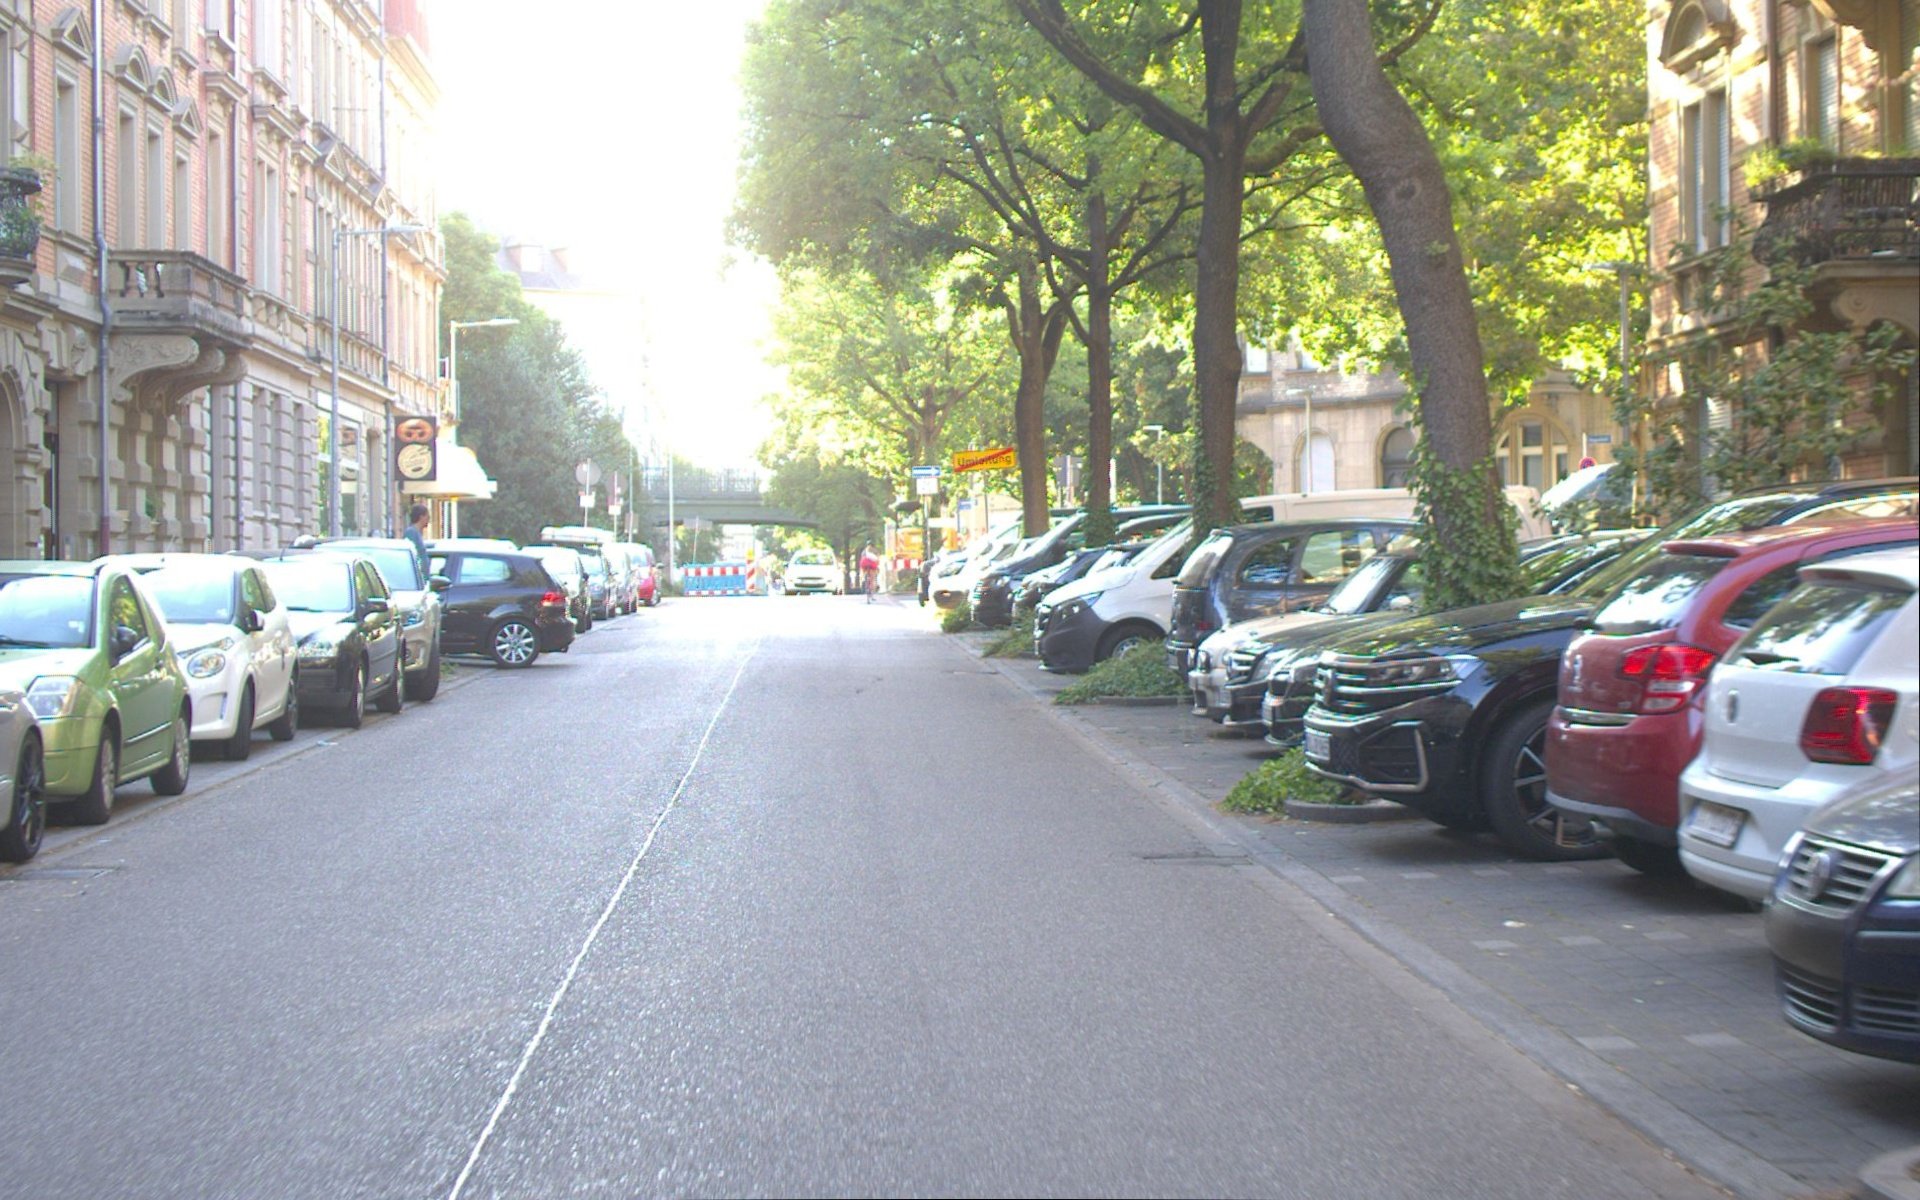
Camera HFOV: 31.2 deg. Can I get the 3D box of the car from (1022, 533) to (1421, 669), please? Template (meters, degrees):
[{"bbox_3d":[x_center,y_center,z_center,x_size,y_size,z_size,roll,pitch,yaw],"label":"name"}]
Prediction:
[{"bbox_3d":[2.947,-0.009,39.478,4.369,1.450,1.934,-1,1,-2],"label":"car"}]

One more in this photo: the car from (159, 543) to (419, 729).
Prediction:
[{"bbox_3d":[-5.861,0.265,30.428,1.647,1.468,4.001,2,1,-3],"label":"car"}]

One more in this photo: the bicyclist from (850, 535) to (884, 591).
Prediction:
[{"bbox_3d":[-2.312,-0.919,85.835,0.803,1.378,0.985,1,1,-3],"label":"bicyclist"}]

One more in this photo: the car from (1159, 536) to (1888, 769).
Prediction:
[{"bbox_3d":[3.904,0.325,24.142,4.658,1.498,1.933,-1,1,-11],"label":"car"}]

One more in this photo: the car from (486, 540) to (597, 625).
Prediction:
[{"bbox_3d":[-7.362,-0.332,60.767,1.703,1.449,4.021,0,1,-4],"label":"car"}]

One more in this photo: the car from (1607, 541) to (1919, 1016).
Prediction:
[{"bbox_3d":[4.419,0.517,11.746,3.986,1.457,1.783,-1,1,-5],"label":"car"}]

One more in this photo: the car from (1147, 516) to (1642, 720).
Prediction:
[{"bbox_3d":[3.667,0.126,29.374,3.883,1.643,1.725,-1,1,-7],"label":"car"}]

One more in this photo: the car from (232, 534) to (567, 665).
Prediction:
[{"bbox_3d":[-6.904,-0.026,42.578,3.986,1.524,1.826,-1,1,-8],"label":"car"}]

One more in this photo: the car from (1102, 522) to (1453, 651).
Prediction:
[{"bbox_3d":[3.856,-0.181,42.251,4.081,1.492,1.843,-1,1,-2],"label":"car"}]

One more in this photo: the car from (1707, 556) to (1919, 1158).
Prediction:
[{"bbox_3d":[4.187,0.503,9.025,3.986,1.383,1.678,-3,1,-3],"label":"car"}]

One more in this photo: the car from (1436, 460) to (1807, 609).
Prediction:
[{"bbox_3d":[11.470,-1.140,59.818,5.893,2.528,2.381,0,1,-8],"label":"car"}]

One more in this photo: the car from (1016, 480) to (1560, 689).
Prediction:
[{"bbox_3d":[3.162,-0.123,33.974,5.091,1.933,2.158,0,-3,-2],"label":"car"}]

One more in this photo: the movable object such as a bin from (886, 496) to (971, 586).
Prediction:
[{"bbox_3d":[-0.939,-1.781,104.361,1.994,2.690,3.109,0,0,11],"label":"movable object such as a bin"}]

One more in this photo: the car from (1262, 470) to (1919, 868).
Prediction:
[{"bbox_3d":[3.956,0.248,16.630,4.644,1.696,1.882,-2,1,-5],"label":"car"}]

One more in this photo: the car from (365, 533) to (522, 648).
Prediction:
[{"bbox_3d":[-7.295,-0.168,48.847,1.741,1.562,3.895,-1,1,-2],"label":"car"}]

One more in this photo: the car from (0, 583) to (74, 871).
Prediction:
[{"bbox_3d":[-5.319,0.622,15.521,1.705,1.318,4.102,-1,1,-2],"label":"car"}]

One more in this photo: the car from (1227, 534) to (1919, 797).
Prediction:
[{"bbox_3d":[4.042,0.369,21.527,4.552,1.524,2.000,-1,1,-1],"label":"car"}]

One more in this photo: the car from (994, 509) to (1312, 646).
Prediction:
[{"bbox_3d":[2.727,-0.341,49.189,4.267,1.878,1.940,-1,1,-6],"label":"car"}]

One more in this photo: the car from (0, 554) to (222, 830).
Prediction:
[{"bbox_3d":[-5.556,0.469,20.193,1.705,1.434,3.959,-1,1,-2],"label":"car"}]

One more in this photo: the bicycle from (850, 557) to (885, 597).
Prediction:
[{"bbox_3d":[-2.313,-0.577,85.818,0.803,0.965,2.109,1,1,-3],"label":"bicycle"}]

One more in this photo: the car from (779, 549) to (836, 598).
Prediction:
[{"bbox_3d":[-4.806,-0.859,108.562,1.749,1.504,4.001,0,1,-3],"label":"car"}]

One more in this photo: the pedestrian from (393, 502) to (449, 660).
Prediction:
[{"bbox_3d":[-6.502,-0.237,41.514,0.638,1.881,0.592,-1,1,-8],"label":"pedestrian"}]

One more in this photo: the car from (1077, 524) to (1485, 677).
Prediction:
[{"bbox_3d":[3.403,-0.013,36.791,3.986,1.469,1.782,-2,1,-9],"label":"car"}]

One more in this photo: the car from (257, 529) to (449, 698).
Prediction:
[{"bbox_3d":[-6.163,0.089,35.228,1.647,1.569,4.050,2,1,-7],"label":"car"}]

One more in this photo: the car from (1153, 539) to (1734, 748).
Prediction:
[{"bbox_3d":[3.677,0.302,26.535,4.104,1.498,1.811,-1,1,-7],"label":"car"}]

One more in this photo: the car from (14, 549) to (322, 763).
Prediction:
[{"bbox_3d":[-5.924,0.360,26.108,1.581,1.468,4.001,-1,1,-3],"label":"car"}]

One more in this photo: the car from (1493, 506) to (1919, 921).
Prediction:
[{"bbox_3d":[4.408,0.400,14.343,3.986,1.585,1.783,-1,1,-5],"label":"car"}]

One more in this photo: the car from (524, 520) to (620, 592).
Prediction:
[{"bbox_3d":[-7.969,-0.911,70.918,1.764,1.432,4.301,0,1,-4],"label":"car"}]

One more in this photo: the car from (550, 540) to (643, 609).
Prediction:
[{"bbox_3d":[-8.031,-0.591,76.144,1.725,1.432,3.996,2,1,-2],"label":"car"}]

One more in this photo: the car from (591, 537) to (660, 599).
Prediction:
[{"bbox_3d":[-8.399,-0.808,86.470,1.669,1.525,4.001,0,1,-5],"label":"car"}]

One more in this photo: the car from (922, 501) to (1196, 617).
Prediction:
[{"bbox_3d":[1.818,-0.777,64.250,4.973,2.089,2.106,0,1,-2],"label":"car"}]

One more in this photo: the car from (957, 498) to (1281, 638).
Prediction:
[{"bbox_3d":[2.339,-0.489,51.379,4.614,2.007,2.000,-1,1,-4],"label":"car"}]
